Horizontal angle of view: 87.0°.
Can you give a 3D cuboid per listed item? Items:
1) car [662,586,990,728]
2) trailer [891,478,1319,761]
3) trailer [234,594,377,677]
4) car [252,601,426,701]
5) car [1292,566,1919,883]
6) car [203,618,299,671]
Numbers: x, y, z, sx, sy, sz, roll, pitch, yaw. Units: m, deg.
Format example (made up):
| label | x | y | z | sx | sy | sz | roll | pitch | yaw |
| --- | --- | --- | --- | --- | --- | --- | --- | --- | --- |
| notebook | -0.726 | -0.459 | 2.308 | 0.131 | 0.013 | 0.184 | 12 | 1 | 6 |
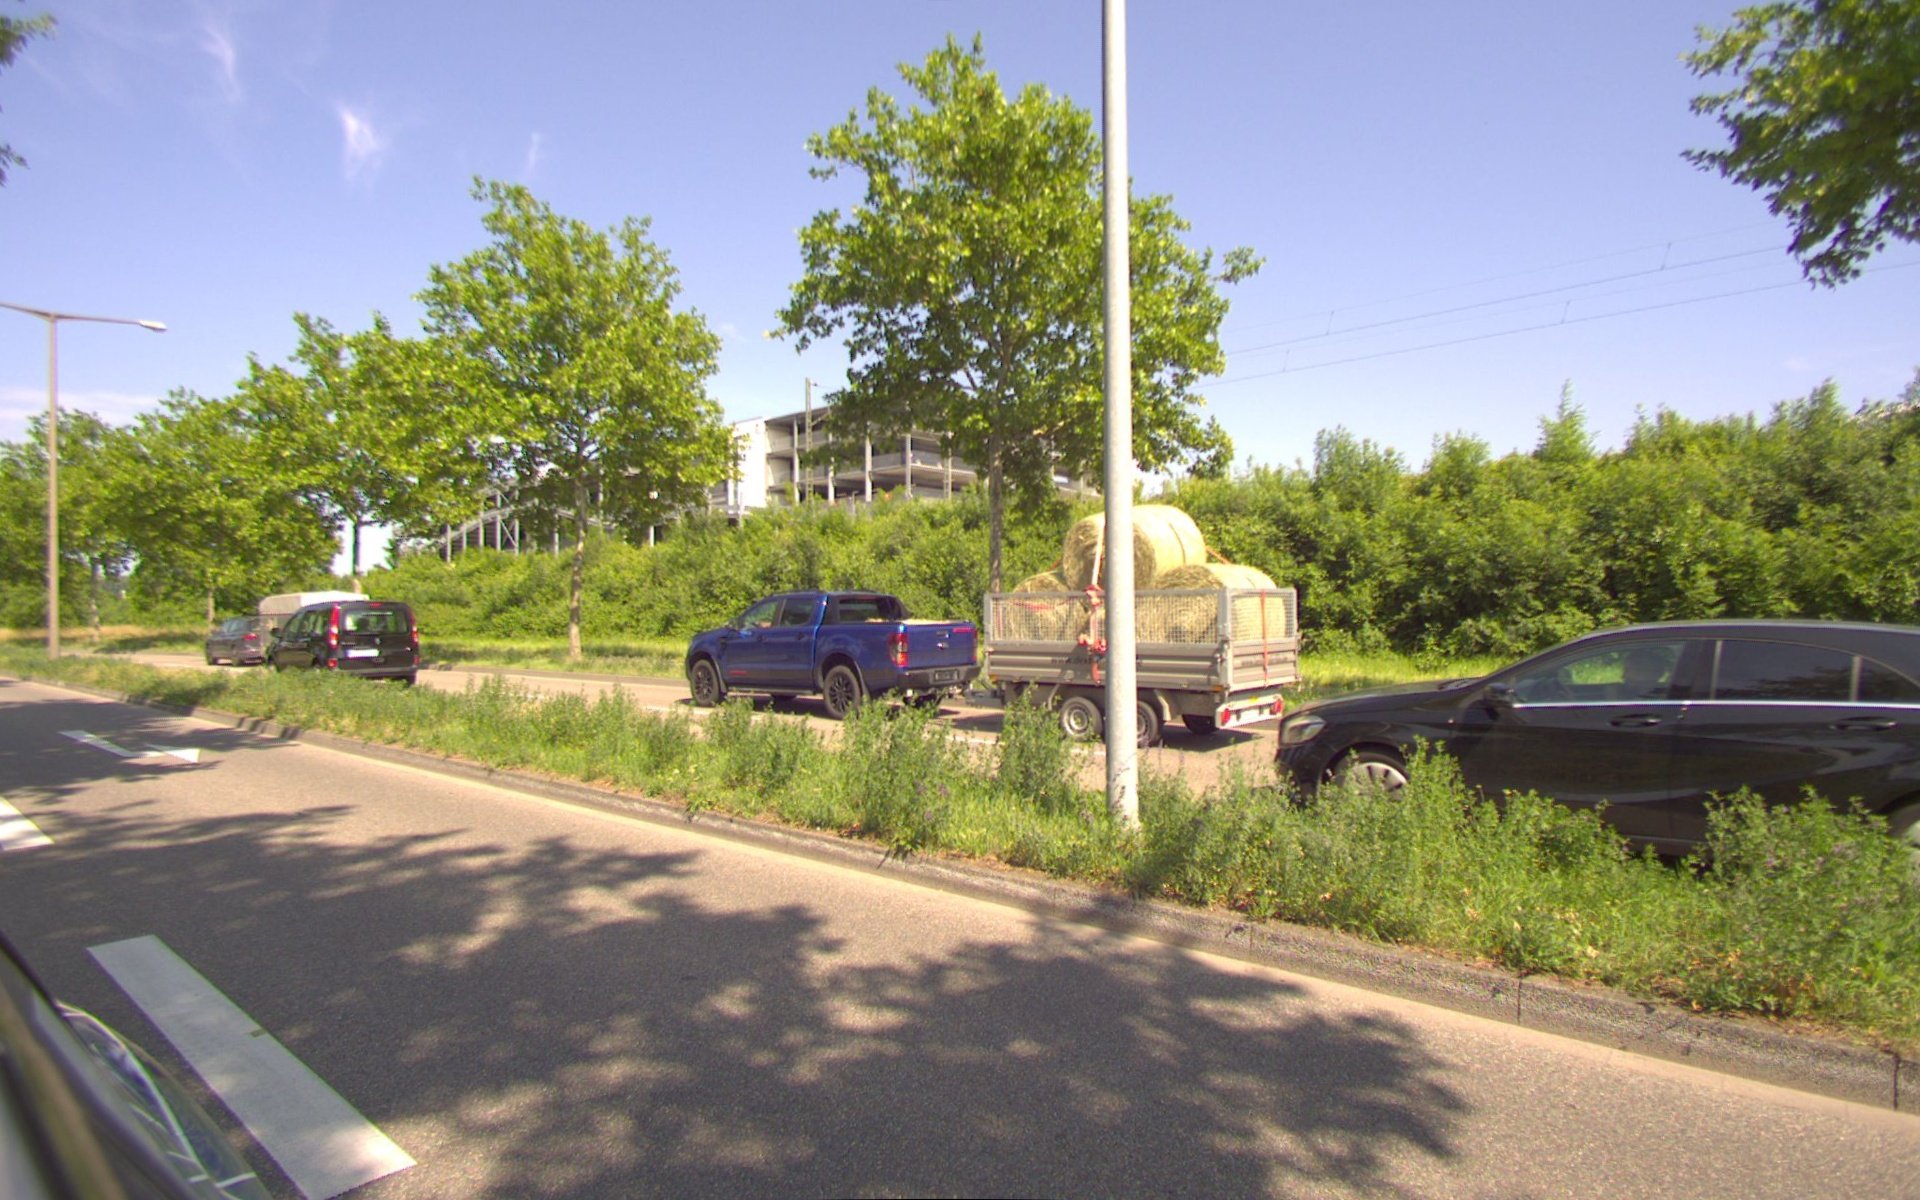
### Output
| label | x | y | z | sx | sy | sz | roll | pitch | yaw |
| --- | --- | --- | --- | --- | --- | --- | --- | --- | --- |
| car | -2.205 | 0.755 | 15.365 | 5.371 | 1.803 | 1.747 | -1 | 0 | 40 |
| trailer | 1.559 | 0.206 | 12.183 | 4.826 | 2.764 | 1.860 | -1 | 0 | 41 |
| trailer | -20.001 | 1.031 | 30.821 | 5.536 | 2.282 | 2.284 | -1 | -1 | 42 |
| car | -12.830 | 0.980 | 20.810 | 4.227 | 1.823 | 1.714 | -1 | 0 | 39 |
| car | 4.148 | 0.596 | 6.067 | 3.787 | 1.483 | 1.586 | -1 | -1 | 40 |
| car | -23.725 | 1.432 | 33.806 | 4.359 | 1.634 | 1.697 | -1 | -1 | 42 |
